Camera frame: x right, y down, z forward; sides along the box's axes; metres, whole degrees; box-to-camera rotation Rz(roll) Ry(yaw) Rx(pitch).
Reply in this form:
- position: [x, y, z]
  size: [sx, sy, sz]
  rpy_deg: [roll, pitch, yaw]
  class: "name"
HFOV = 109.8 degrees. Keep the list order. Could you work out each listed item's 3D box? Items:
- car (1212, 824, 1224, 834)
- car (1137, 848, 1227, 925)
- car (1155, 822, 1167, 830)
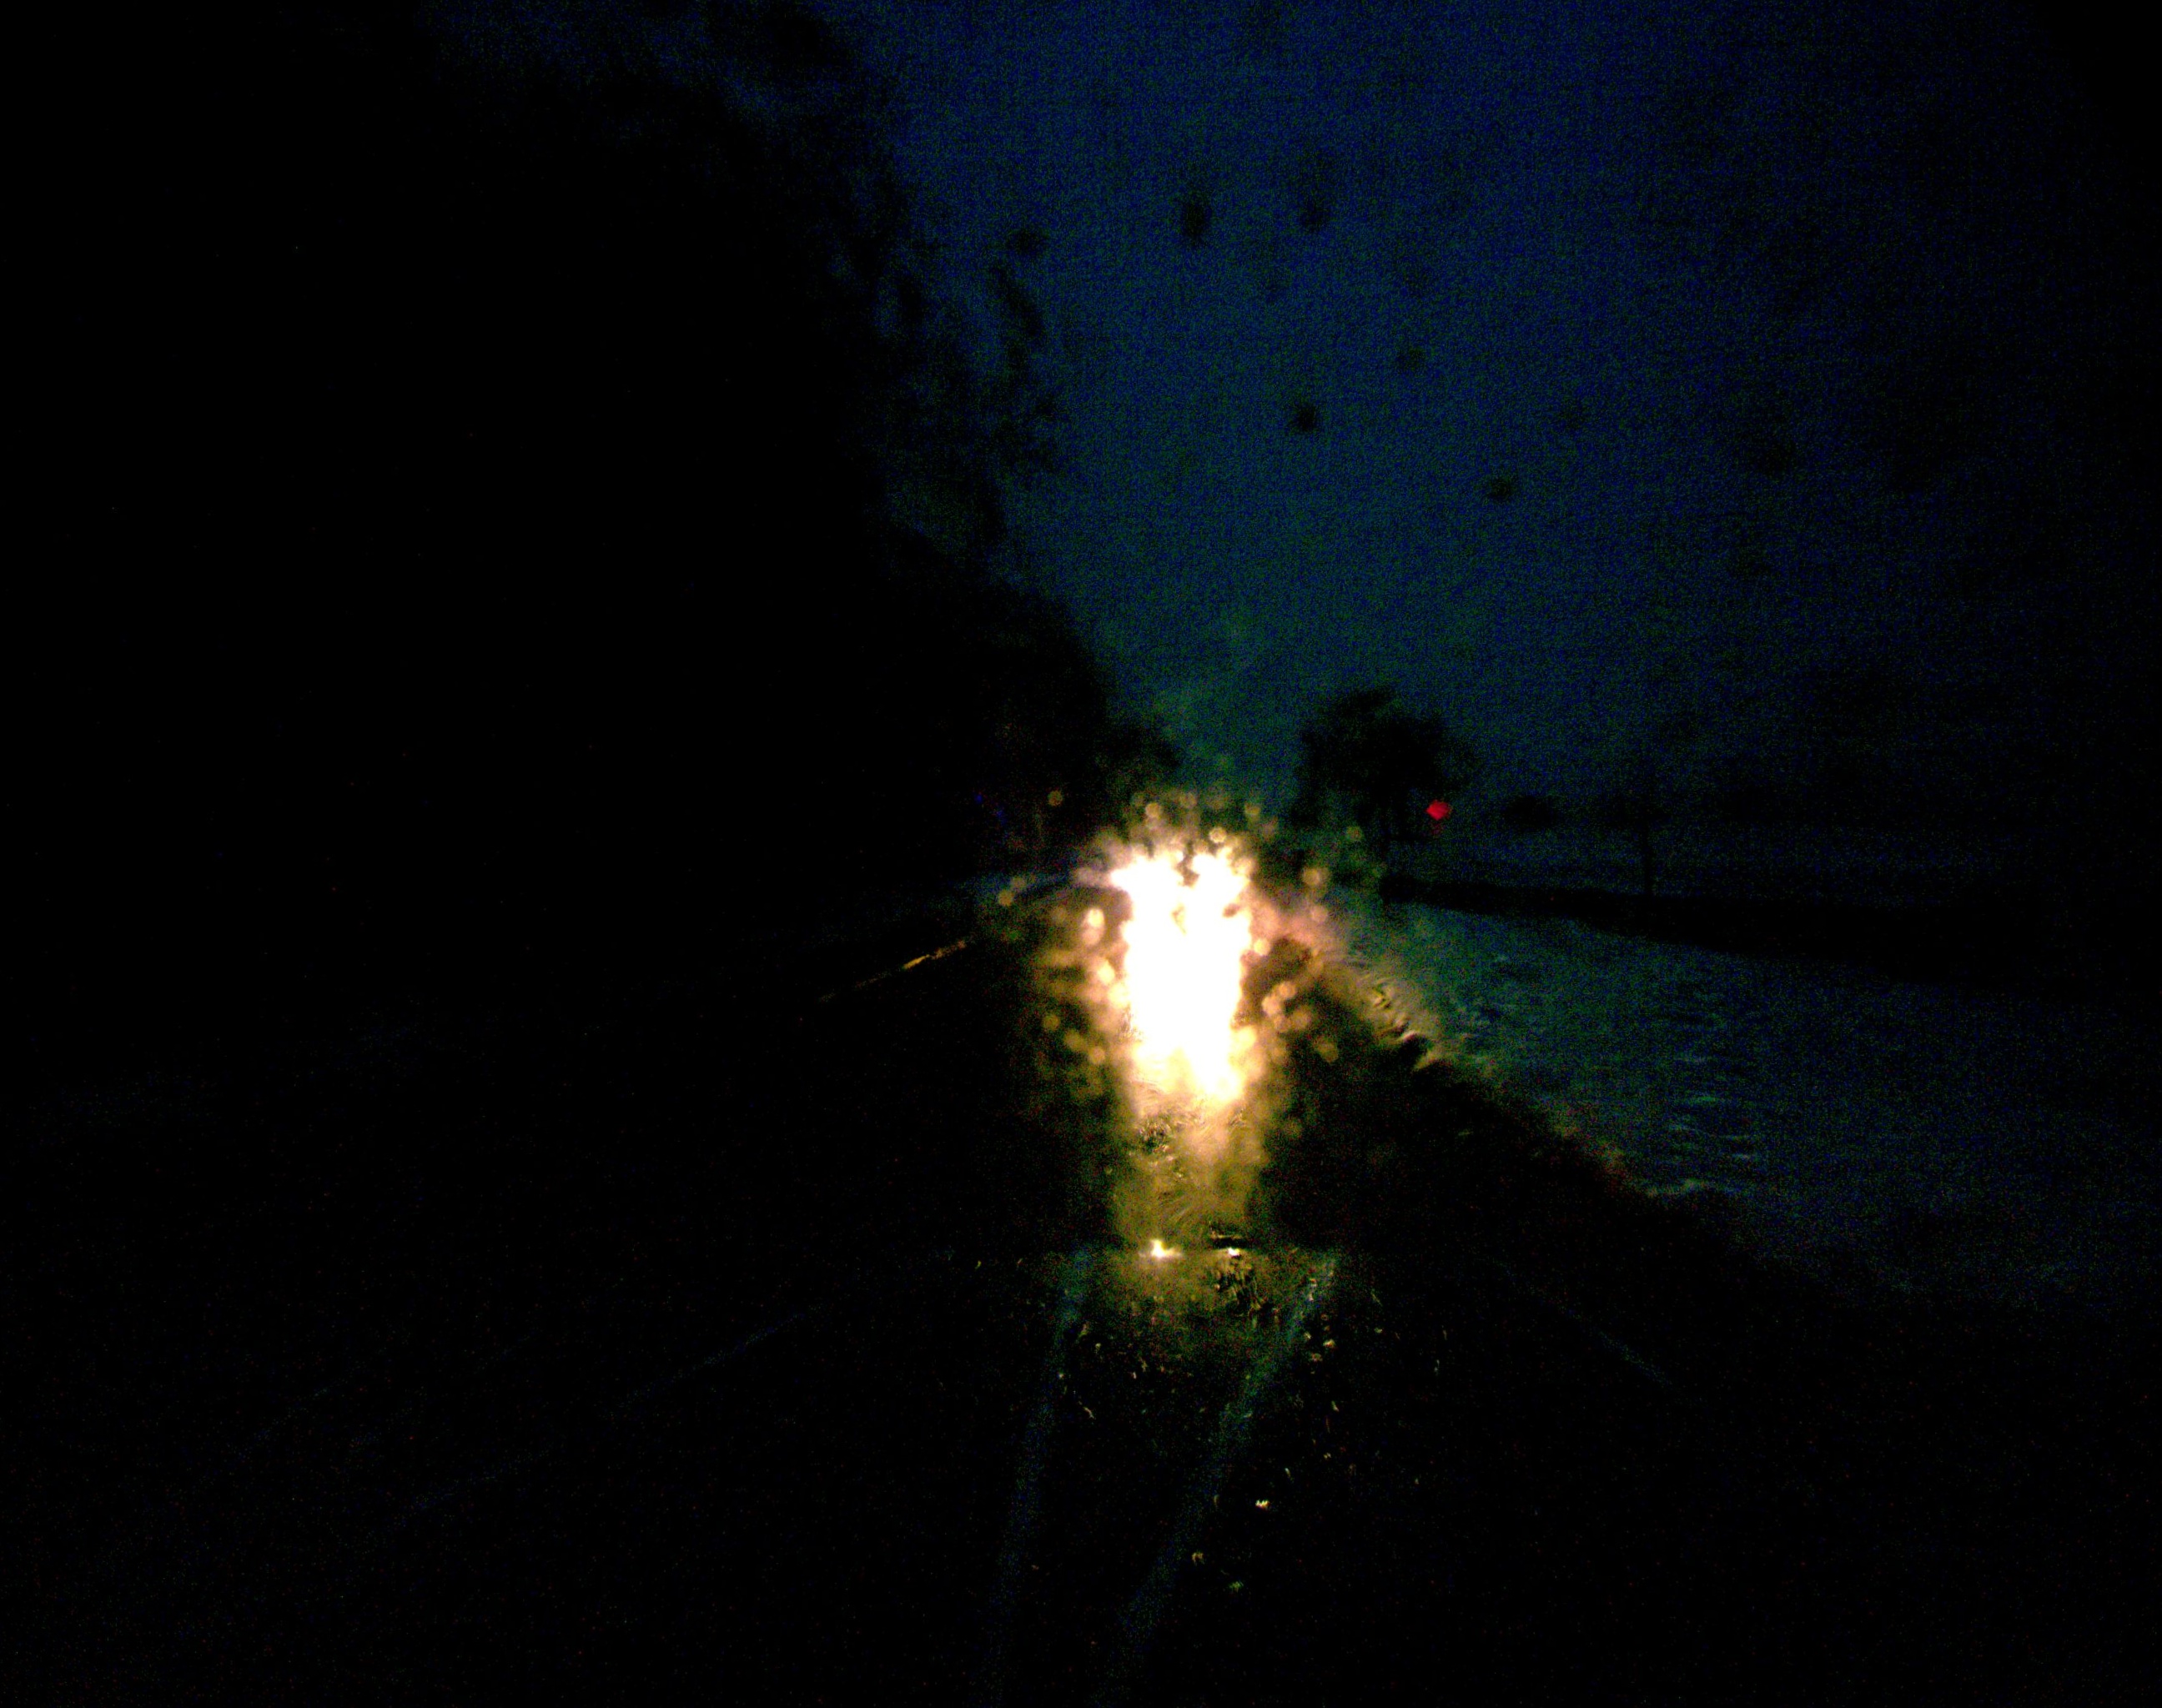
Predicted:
- position: [25.783, -4.670, 142.953]
  size: [1.997, 1.797, 4.001]
  rpy_deg: [-2, 2, 9]
  class: "car"
- position: [2.181, 0.634, 16.989]
  size: [1.724, 1.426, 3.677]
  rpy_deg: [-2, 1, 5]
  class: "car"
- position: [17.778, -6.193, 168.854]
  size: [1.999, 1.797, 3.997]
  rpy_deg: [-2, 2, -5]
  class: "car"
